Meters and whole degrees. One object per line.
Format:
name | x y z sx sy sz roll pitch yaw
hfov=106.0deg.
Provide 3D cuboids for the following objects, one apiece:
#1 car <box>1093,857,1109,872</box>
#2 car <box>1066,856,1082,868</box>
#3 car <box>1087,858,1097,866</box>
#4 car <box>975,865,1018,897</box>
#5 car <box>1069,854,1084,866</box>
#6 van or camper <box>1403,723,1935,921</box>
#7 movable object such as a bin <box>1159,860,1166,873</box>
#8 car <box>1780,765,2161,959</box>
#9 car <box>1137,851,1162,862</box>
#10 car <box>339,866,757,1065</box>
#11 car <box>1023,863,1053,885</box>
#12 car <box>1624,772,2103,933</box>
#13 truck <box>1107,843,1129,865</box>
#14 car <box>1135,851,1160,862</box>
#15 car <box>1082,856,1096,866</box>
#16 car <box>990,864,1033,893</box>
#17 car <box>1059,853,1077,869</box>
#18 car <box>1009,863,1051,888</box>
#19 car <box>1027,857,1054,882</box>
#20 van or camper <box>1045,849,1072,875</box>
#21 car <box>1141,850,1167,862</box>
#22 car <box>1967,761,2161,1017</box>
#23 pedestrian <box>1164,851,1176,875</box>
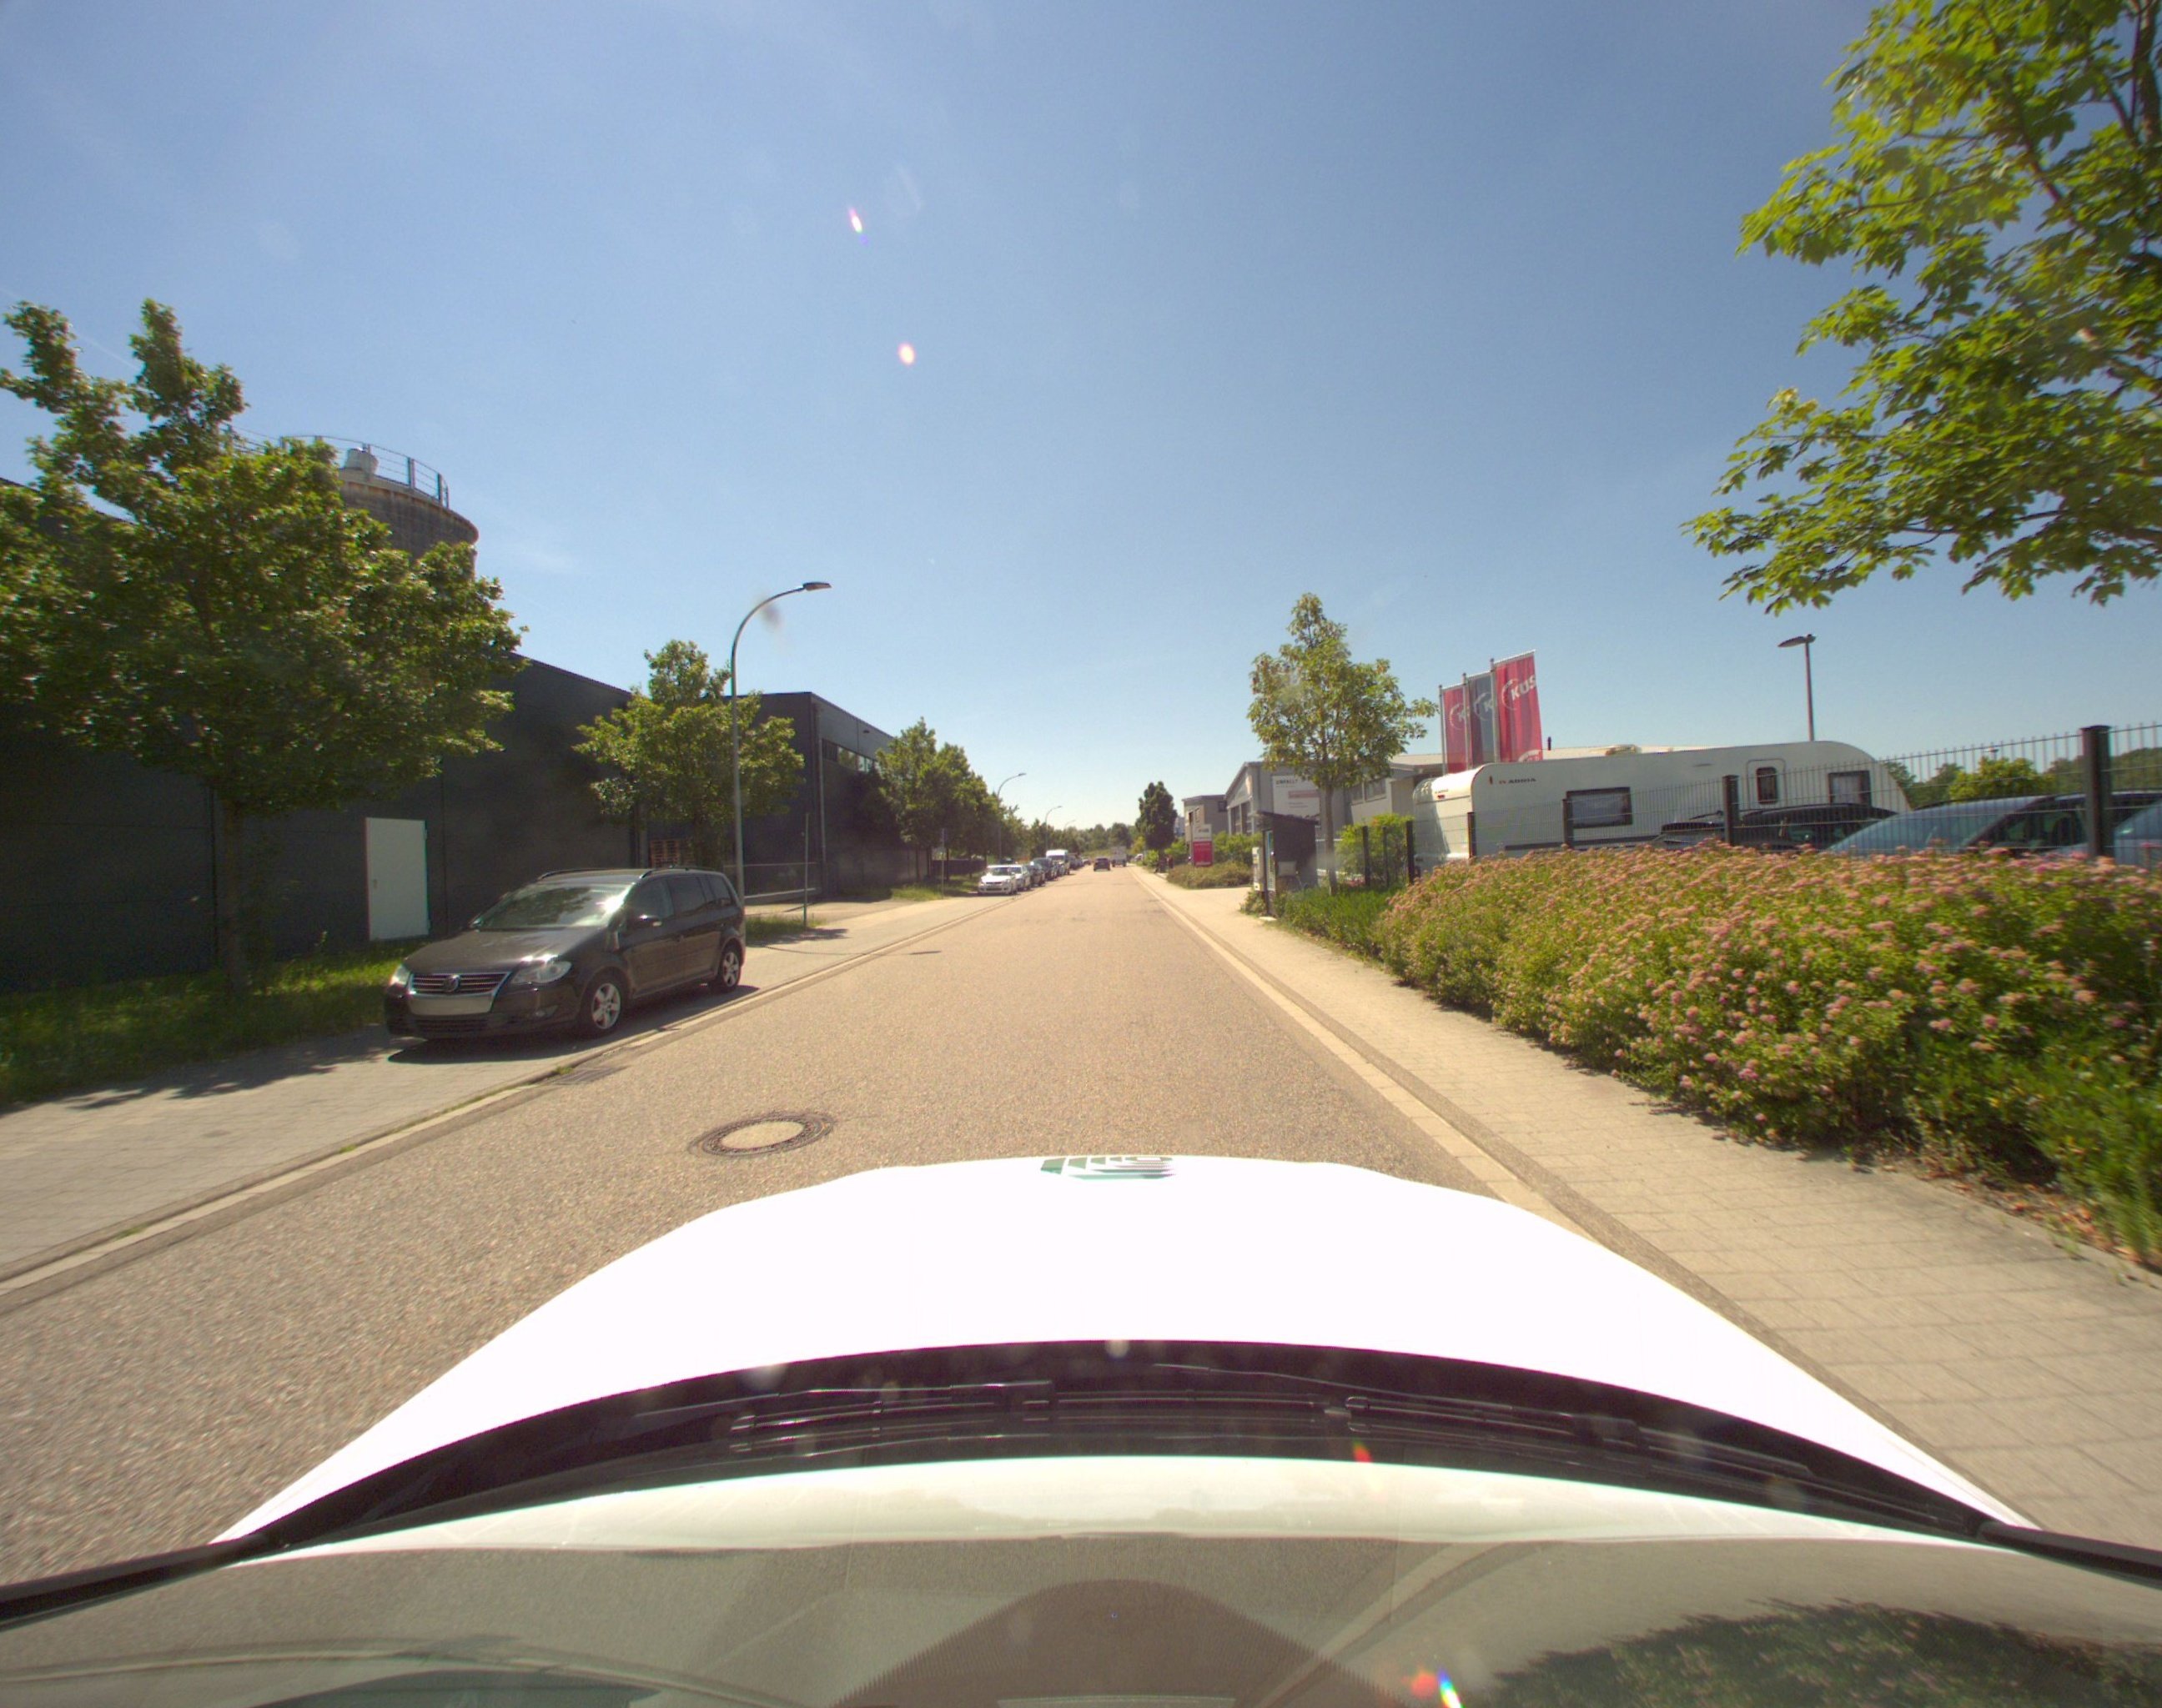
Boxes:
car | 2.238 1.131 91.148 1.782 1.623 3.811 0 0 2
car | -0.926 1.121 109.750 1.791 1.487 4.257 -2 0 4
car | 2.138 1.572 159.639 1.791 1.487 4.257 -2 0 4
car | -4.164 1.313 40.806 1.715 1.476 3.856 -2 0 0
car | -0.603 0.828 114.988 1.791 1.487 4.257 -2 0 4
van or camper | 9.231 -0.463 13.408 6.733 2.585 2.636 -3 -1 1
movable object such as a bin | 6.973 1.084 69.693 0.529 1.052 0.846 -3 -1 4
car | 9.626 -0.009 7.846 4.123 1.536 1.809 -4 -1 1
car | 10.755 0.364 128.024 3.863 1.750 1.751 0 -1 -1
car | -5.418 0.987 9.104 1.764 1.611 4.248 -2 0 1
car | -3.098 1.407 59.212 1.792 1.476 4.590 -2 0 2
car | 9.464 -0.012 10.141 4.123 1.536 1.809 -4 -1 1
truck | 5.153 0.019 113.218 2.921 2.974 6.423 0 0 3
car | 10.706 0.382 130.937 3.863 1.750 1.751 0 -1 -1
car | 1.256 1.085 124.730 1.791 1.487 4.257 -2 0 4
car | -3.891 1.343 46.065 1.792 1.476 4.558 -2 0 3
car | -1.625 0.890 102.239 1.791 1.848 4.257 -2 0 4
car | -3.251 1.371 53.030 1.789 1.476 4.647 -2 0 8
car | -3.169 1.204 64.873 1.792 1.814 4.253 -2 0 1
van or camper | -2.224 0.792 81.925 2.069 2.483 6.138 0 0 5
car | 11.233 0.349 126.055 3.863 1.750 1.751 0 -1 -1
car | 8.936 0.078 5.309 4.237 1.620 1.809 -4 -1 1
pedestrian | 6.276 0.655 57.502 0.501 1.613 0.710 -6 -1 -15
